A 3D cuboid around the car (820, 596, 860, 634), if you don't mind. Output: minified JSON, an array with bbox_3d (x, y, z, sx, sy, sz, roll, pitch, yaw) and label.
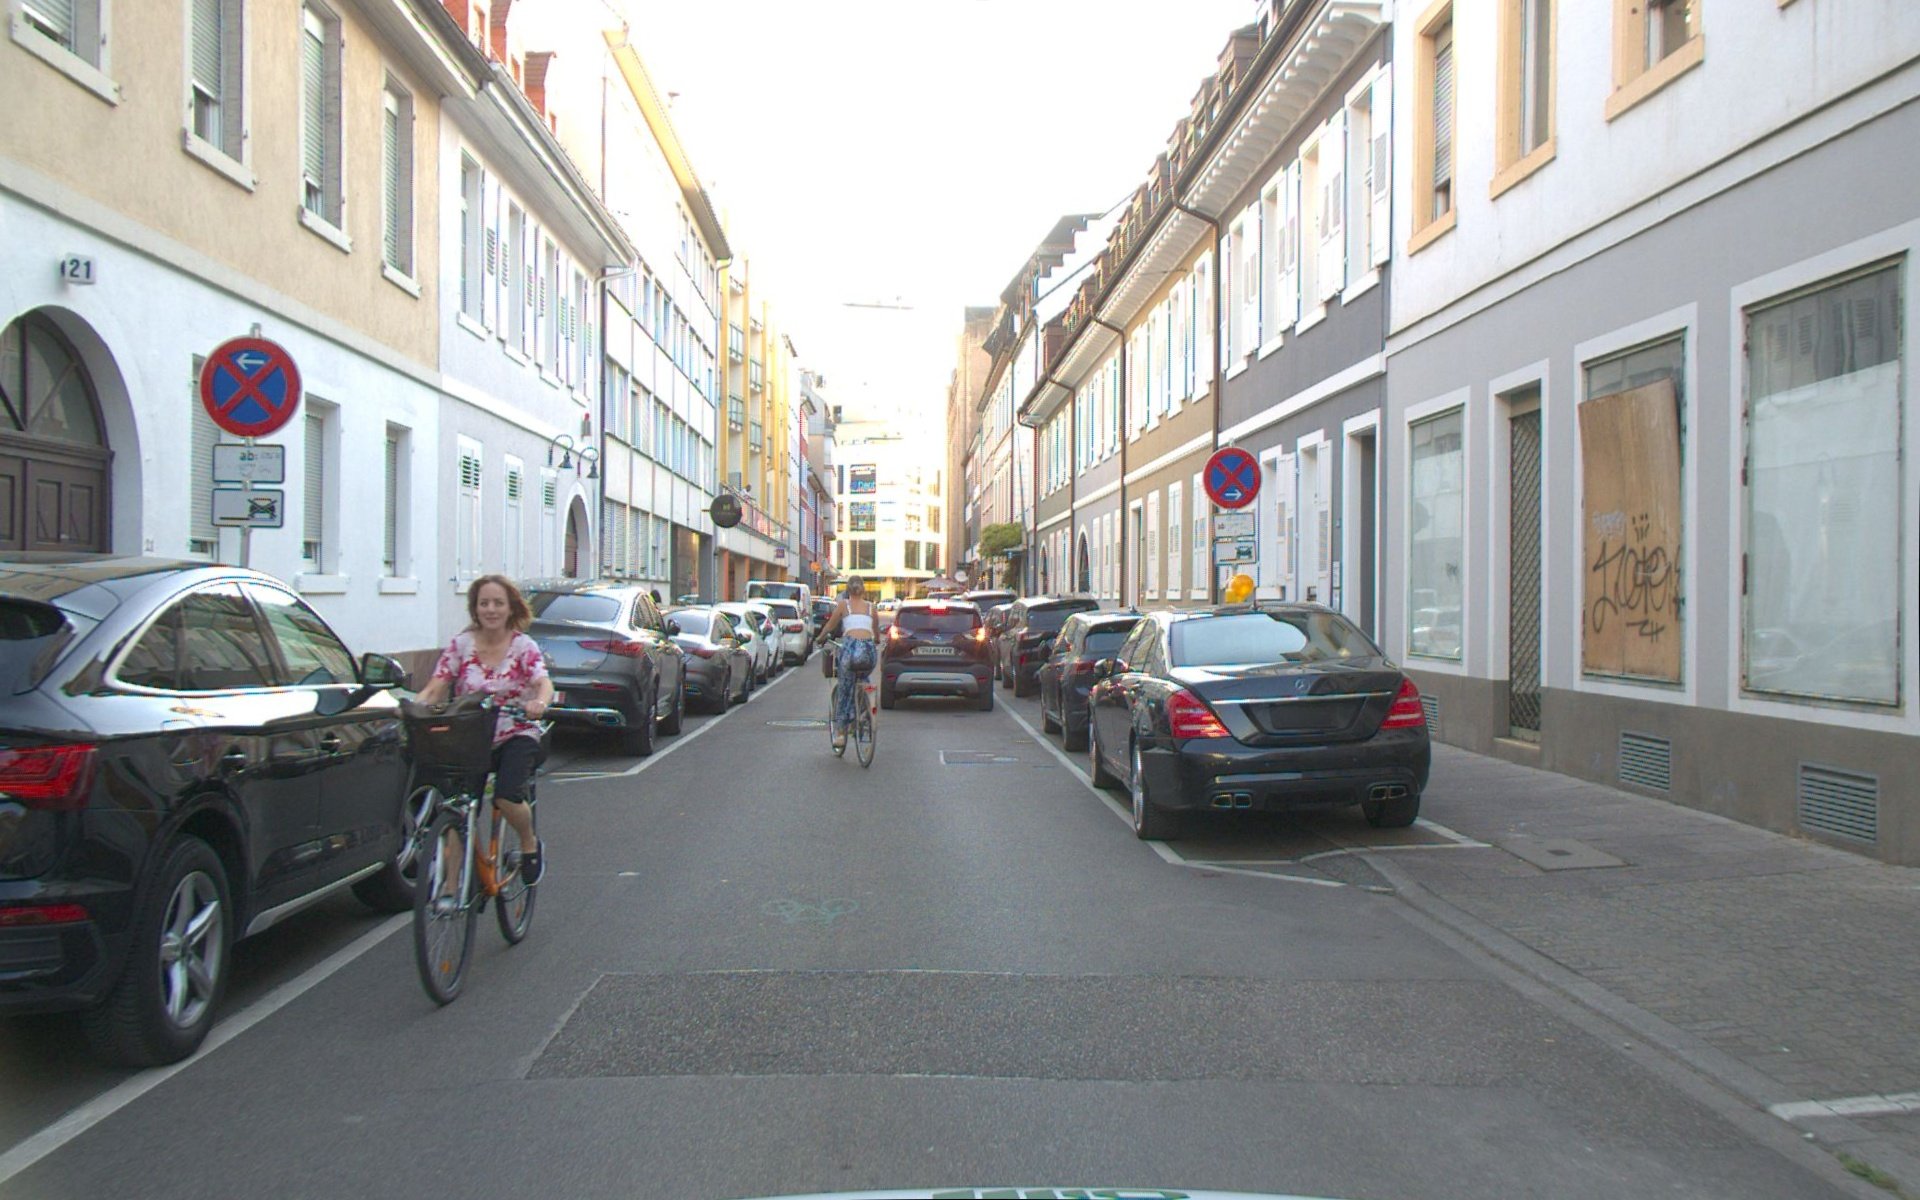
[{"bbox_3d":[-5.360,0.658,74.159,1.620,1.588,3.604,2,0,-2],"label":"car"}]

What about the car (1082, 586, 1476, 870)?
[{"bbox_3d":[2.053,0.757,12.207,1.783,1.556,5.070,-3,0,-1],"label":"car"}]

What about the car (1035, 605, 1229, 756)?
[{"bbox_3d":[1.861,0.834,19.016,1.642,1.512,3.998,2,0,-2],"label":"car"}]

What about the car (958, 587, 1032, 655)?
[{"bbox_3d":[0.841,0.497,41.426,1.620,1.588,3.604,2,0,-2],"label":"car"}]

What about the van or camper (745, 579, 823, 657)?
[{"bbox_3d":[-4.889,0.484,46.487,1.807,2.048,4.676,2,0,-2],"label":"van or camper"}]

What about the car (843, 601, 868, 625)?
[{"bbox_3d":[-7.268,0.895,115.241,1.620,1.588,3.604,2,0,-2],"label":"car"}]

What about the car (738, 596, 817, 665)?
[{"bbox_3d":[-4.443,0.725,40.655,1.620,1.588,3.604,2,0,-2],"label":"car"}]

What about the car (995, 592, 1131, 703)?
[{"bbox_3d":[1.732,0.775,29.115,1.880,1.768,4.150,2,0,-3],"label":"car"}]

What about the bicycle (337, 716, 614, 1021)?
[{"bbox_3d":[-1.921,1.022,6.825,0.601,0.949,1.886,1,0,-1],"label":"bicycle"}]

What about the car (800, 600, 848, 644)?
[{"bbox_3d":[-5.174,0.837,63.162,1.620,1.588,3.604,2,0,-2],"label":"car"}]

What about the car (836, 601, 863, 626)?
[{"bbox_3d":[-7.257,0.869,108.468,1.620,1.588,3.604,2,0,-2],"label":"car"}]

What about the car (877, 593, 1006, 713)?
[{"bbox_3d":[-0.344,0.752,25.351,1.783,1.646,3.998,2,0,-3],"label":"car"}]

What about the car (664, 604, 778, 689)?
[{"bbox_3d":[-4.351,0.809,30.584,1.620,1.435,3.901,2,0,-2],"label":"car"}]

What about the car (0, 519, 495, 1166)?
[{"bbox_3d":[-3.344,0.640,6.593,1.766,1.706,4.489,0,0,-1],"label":"car"}]

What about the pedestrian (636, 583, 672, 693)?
[{"bbox_3d":[-5.764,0.715,31.209,0.598,2.049,0.449,1,-1,-5],"label":"pedestrian"}]

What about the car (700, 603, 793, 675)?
[{"bbox_3d":[-4.543,0.801,35.669,1.620,1.435,3.604,2,0,-2],"label":"car"}]

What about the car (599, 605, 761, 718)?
[{"bbox_3d":[-4.012,0.826,24.315,1.880,1.459,4.290,2,0,-4],"label":"car"}]

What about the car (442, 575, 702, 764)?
[{"bbox_3d":[-4.011,0.661,17.875,1.958,1.737,4.532,2,0,-4],"label":"car"}]

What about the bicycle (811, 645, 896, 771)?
[{"bbox_3d":[-1.049,1.006,15.951,0.602,1.101,1.805,1,0,-10],"label":"bicycle"}]

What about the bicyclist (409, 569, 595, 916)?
[{"bbox_3d":[-1.919,0.575,6.993,0.593,1.393,0.621,1,0,0],"label":"bicyclist"}]

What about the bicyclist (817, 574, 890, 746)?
[{"bbox_3d":[-1.028,0.567,15.848,0.609,1.602,0.682,1,-1,-10],"label":"bicyclist"}]

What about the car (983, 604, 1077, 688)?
[{"bbox_3d":[1.379,0.895,33.854,1.620,1.588,3.604,2,0,-2],"label":"car"}]

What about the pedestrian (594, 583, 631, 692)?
[{"bbox_3d":[-6.559,0.704,31.253,0.598,2.049,0.449,1,-1,-5],"label":"pedestrian"}]
